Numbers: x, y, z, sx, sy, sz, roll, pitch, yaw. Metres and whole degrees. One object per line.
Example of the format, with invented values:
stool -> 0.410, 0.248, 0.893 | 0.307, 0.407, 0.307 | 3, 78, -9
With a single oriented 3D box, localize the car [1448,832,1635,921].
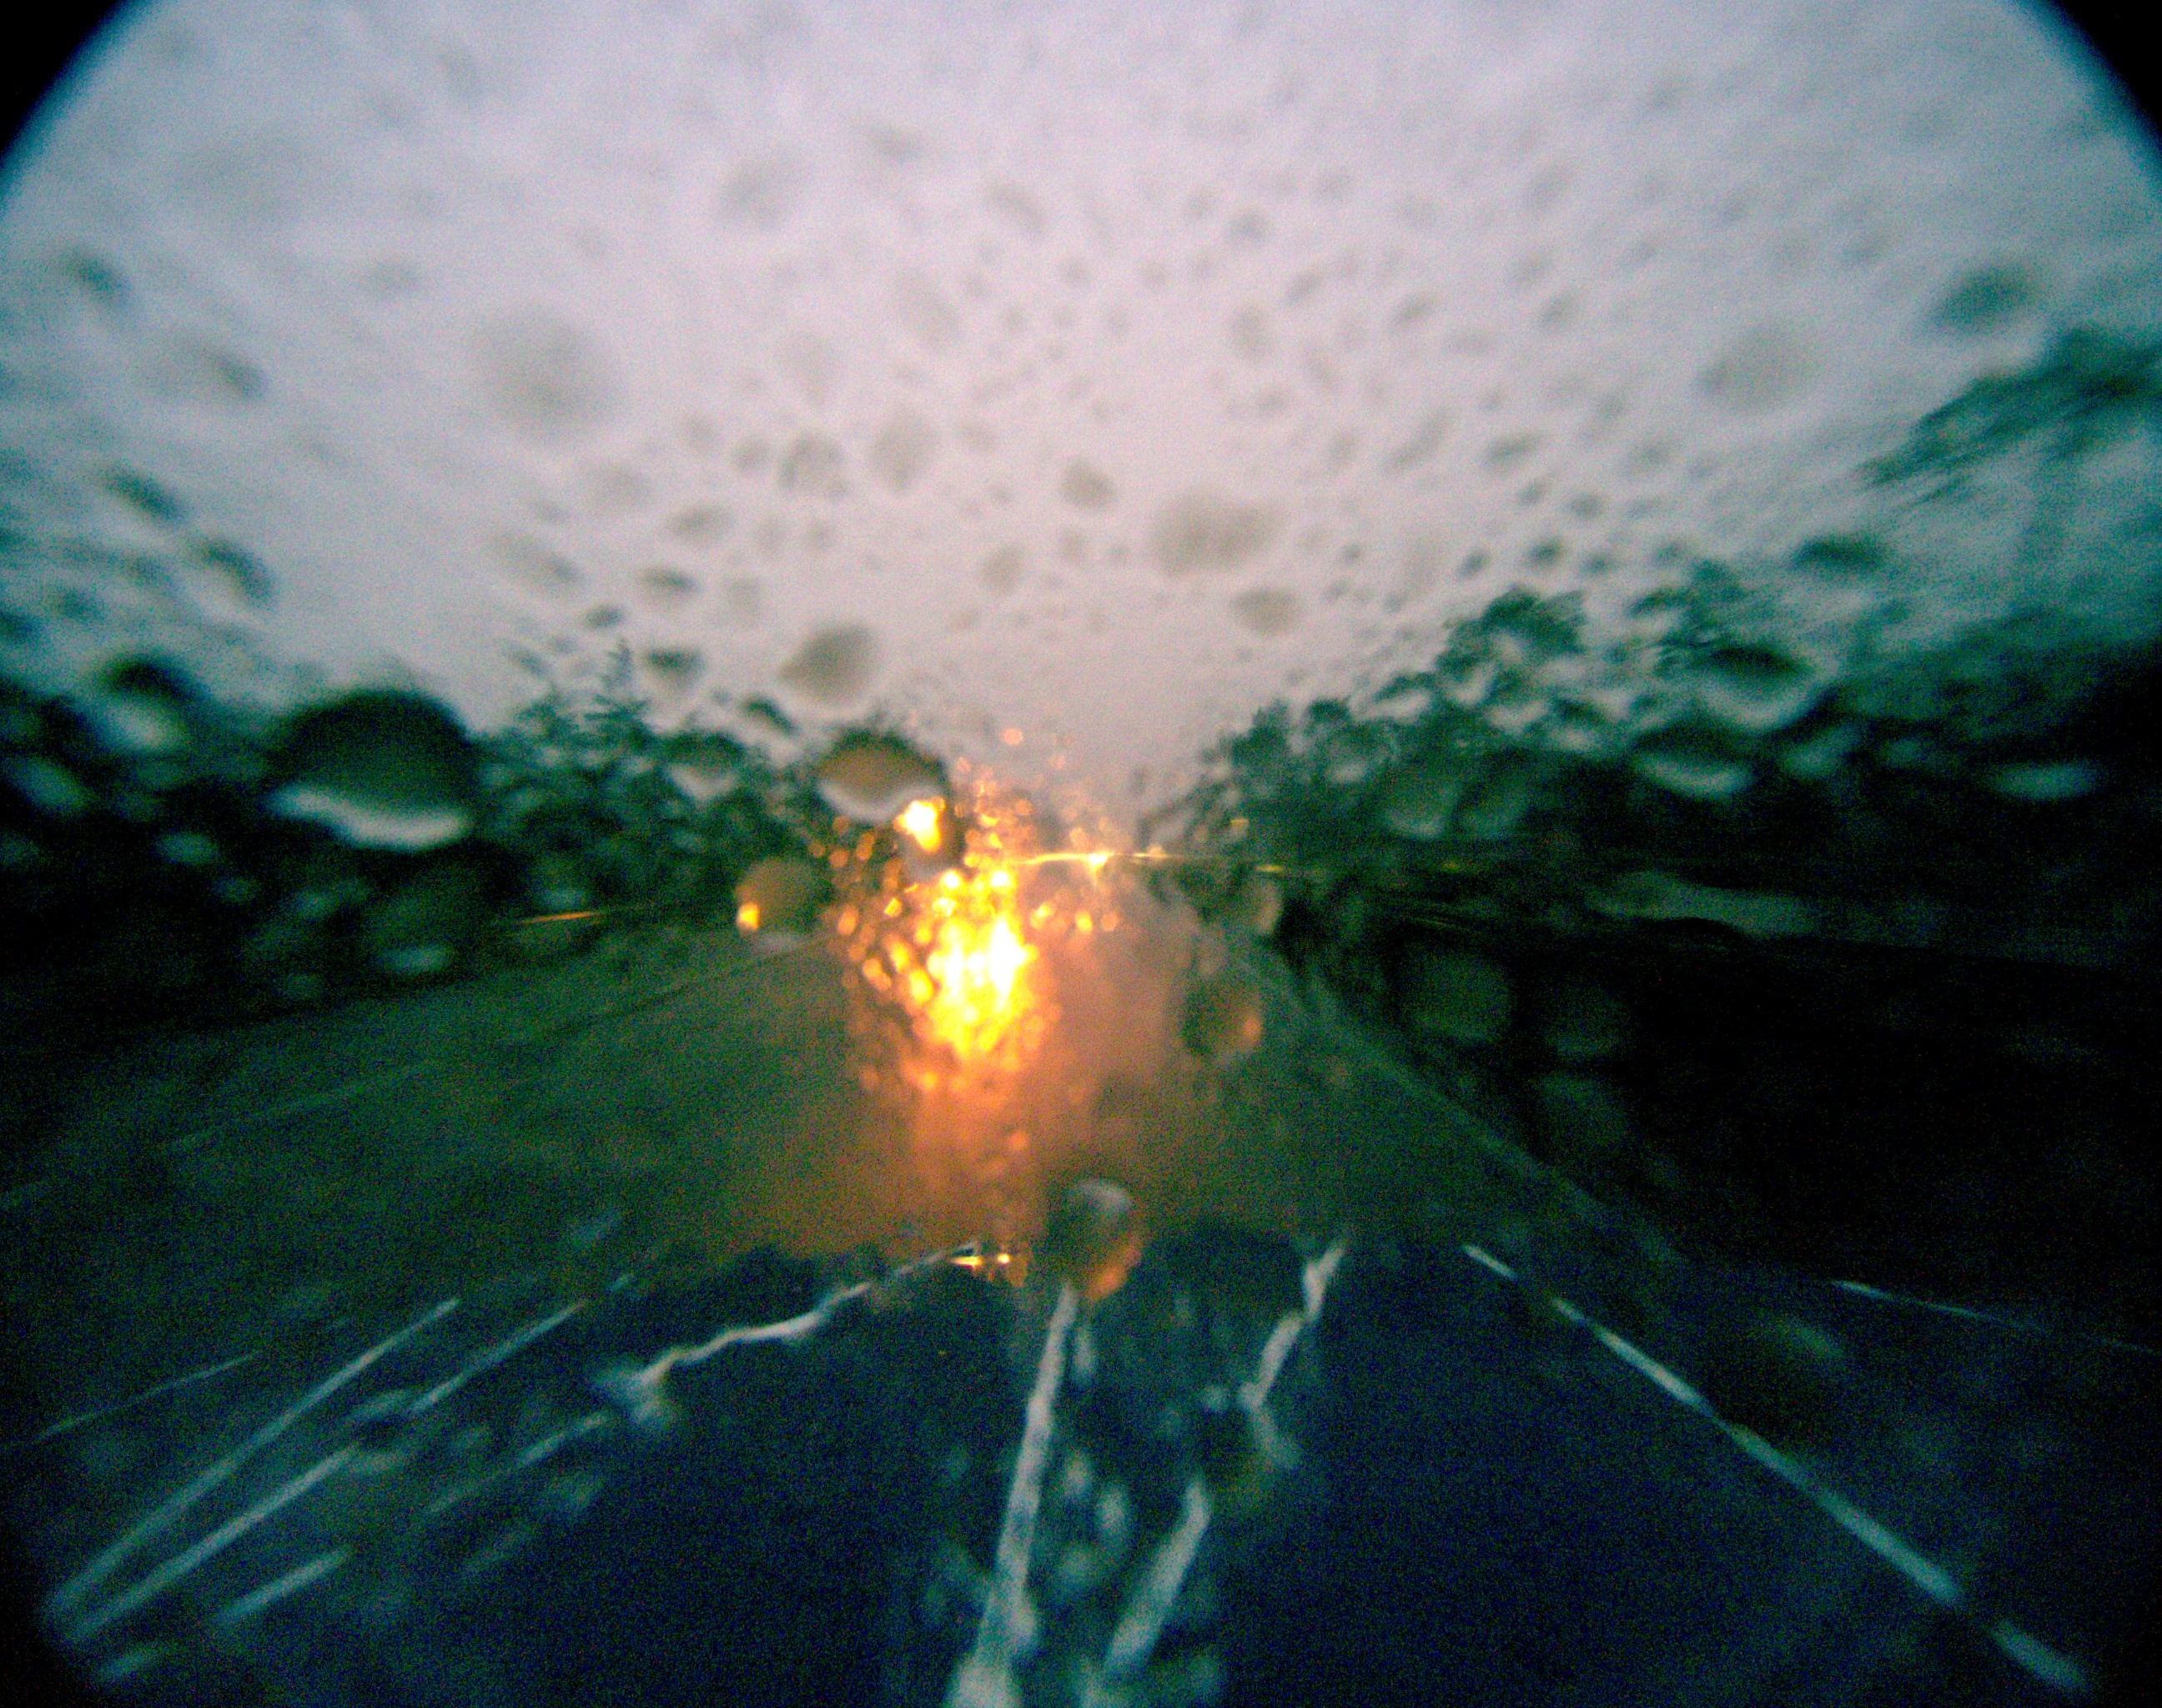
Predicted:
car -> 9.000, 0.385, 15.232 | 1.432, 1.520, 3.775 | -2, 0, 0

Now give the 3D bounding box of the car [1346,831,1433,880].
car -> 12.400, 0.049, 30.861 | 1.988, 1.796, 4.000 | -2, 0, 2

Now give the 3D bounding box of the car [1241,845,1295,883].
car -> 8.566, 0.415, 35.039 | 1.726, 1.597, 3.514 | -2, 0, 2

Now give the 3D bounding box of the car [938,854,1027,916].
car -> -2.984, 0.885, 24.006 | 2.075, 1.688, 4.461 | -2, 0, 1
